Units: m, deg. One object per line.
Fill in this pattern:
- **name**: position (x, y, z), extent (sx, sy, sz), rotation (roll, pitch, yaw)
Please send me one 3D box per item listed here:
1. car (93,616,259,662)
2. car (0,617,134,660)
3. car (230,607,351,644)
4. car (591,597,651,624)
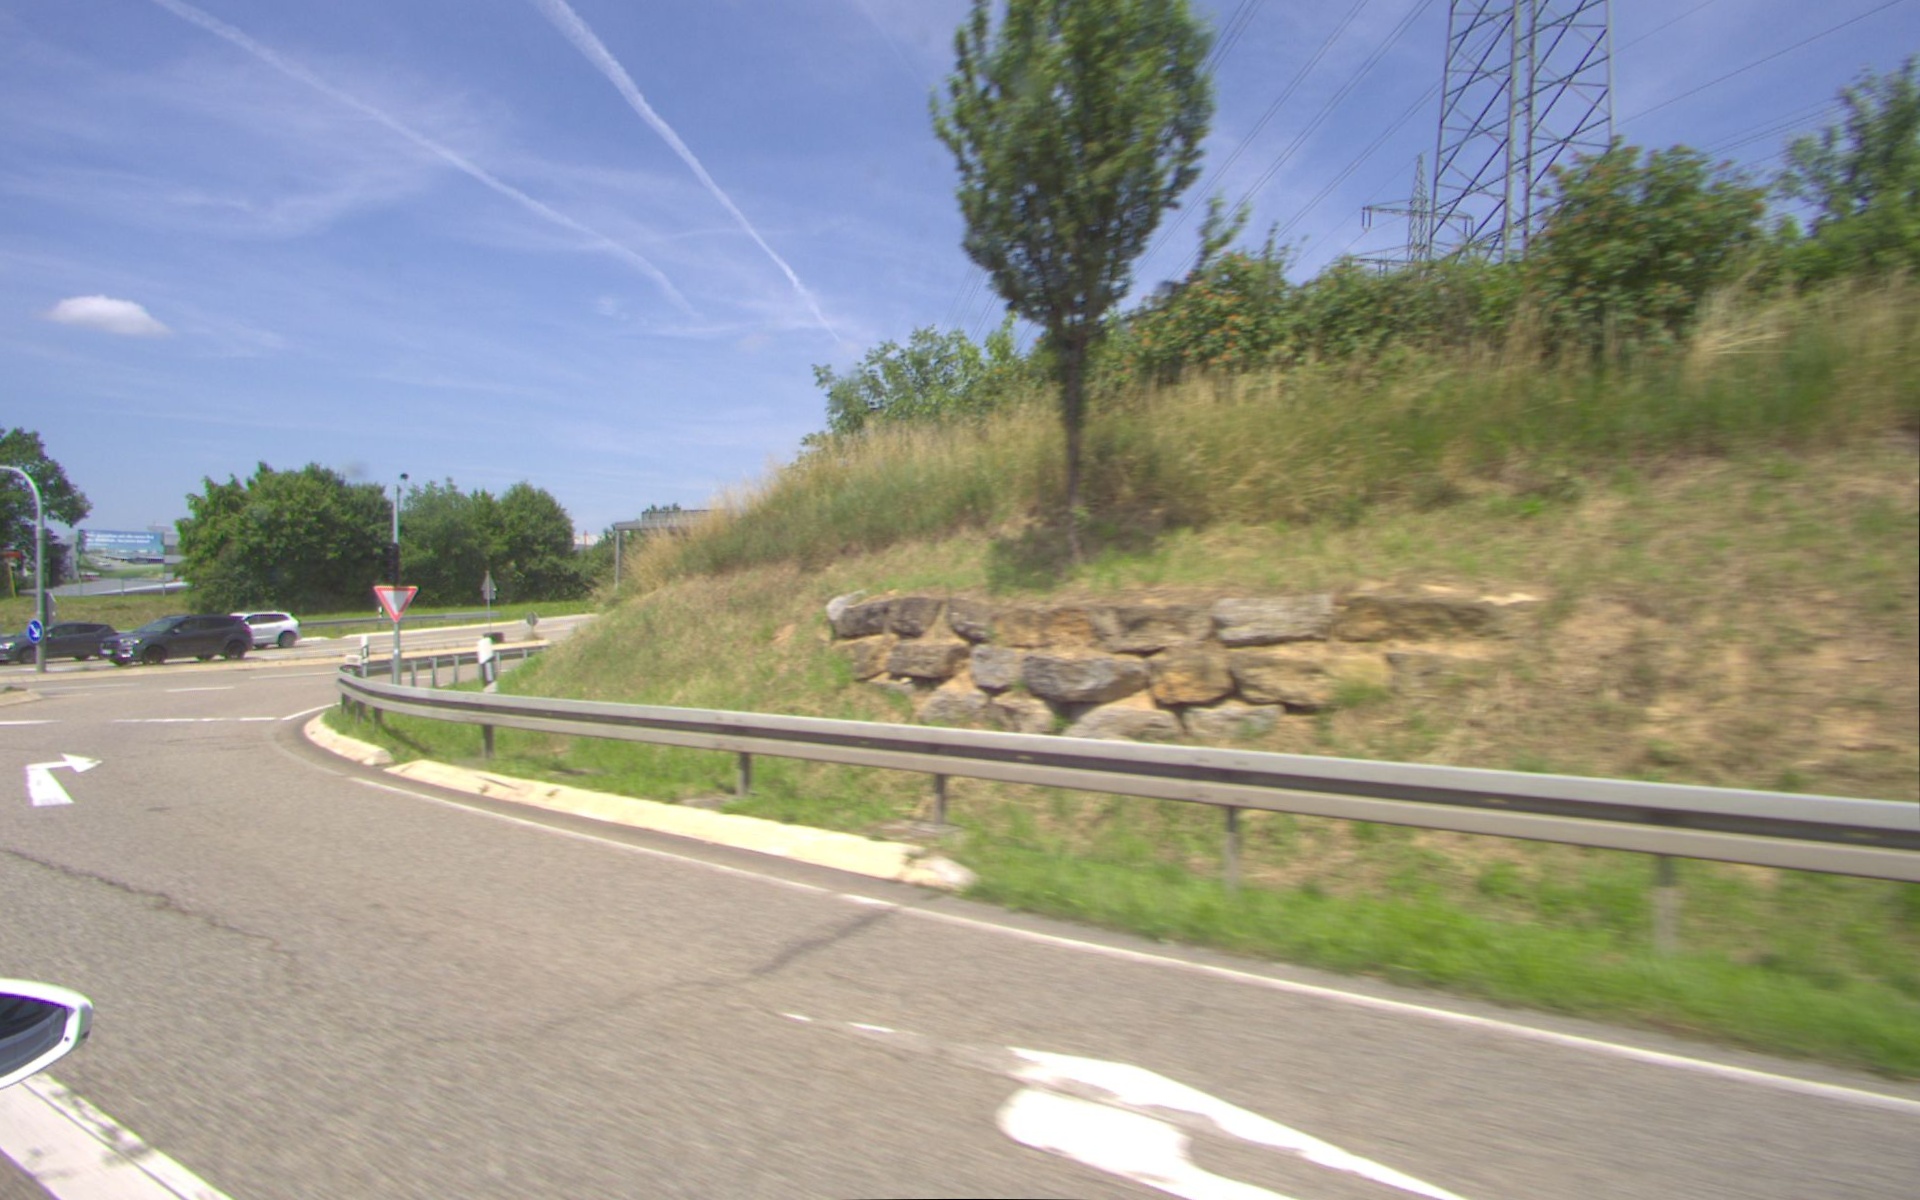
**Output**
- **car**: position (-27.533, 1.334, 35.345), extent (1.687, 1.530, 4.362), rotation (-1, -1, 21)
- **car**: position (-33.587, 1.395, 37.335), extent (1.688, 1.530, 3.989), rotation (-1, -1, 23)
- **car**: position (-30.654, 1.139, 45.980), extent (1.750, 1.613, 4.360), rotation (-1, -1, 23)
- **car**: position (-23.455, 0.704, 69.483), extent (1.802, 1.677, 4.366), rotation (-1, 1, 14)
